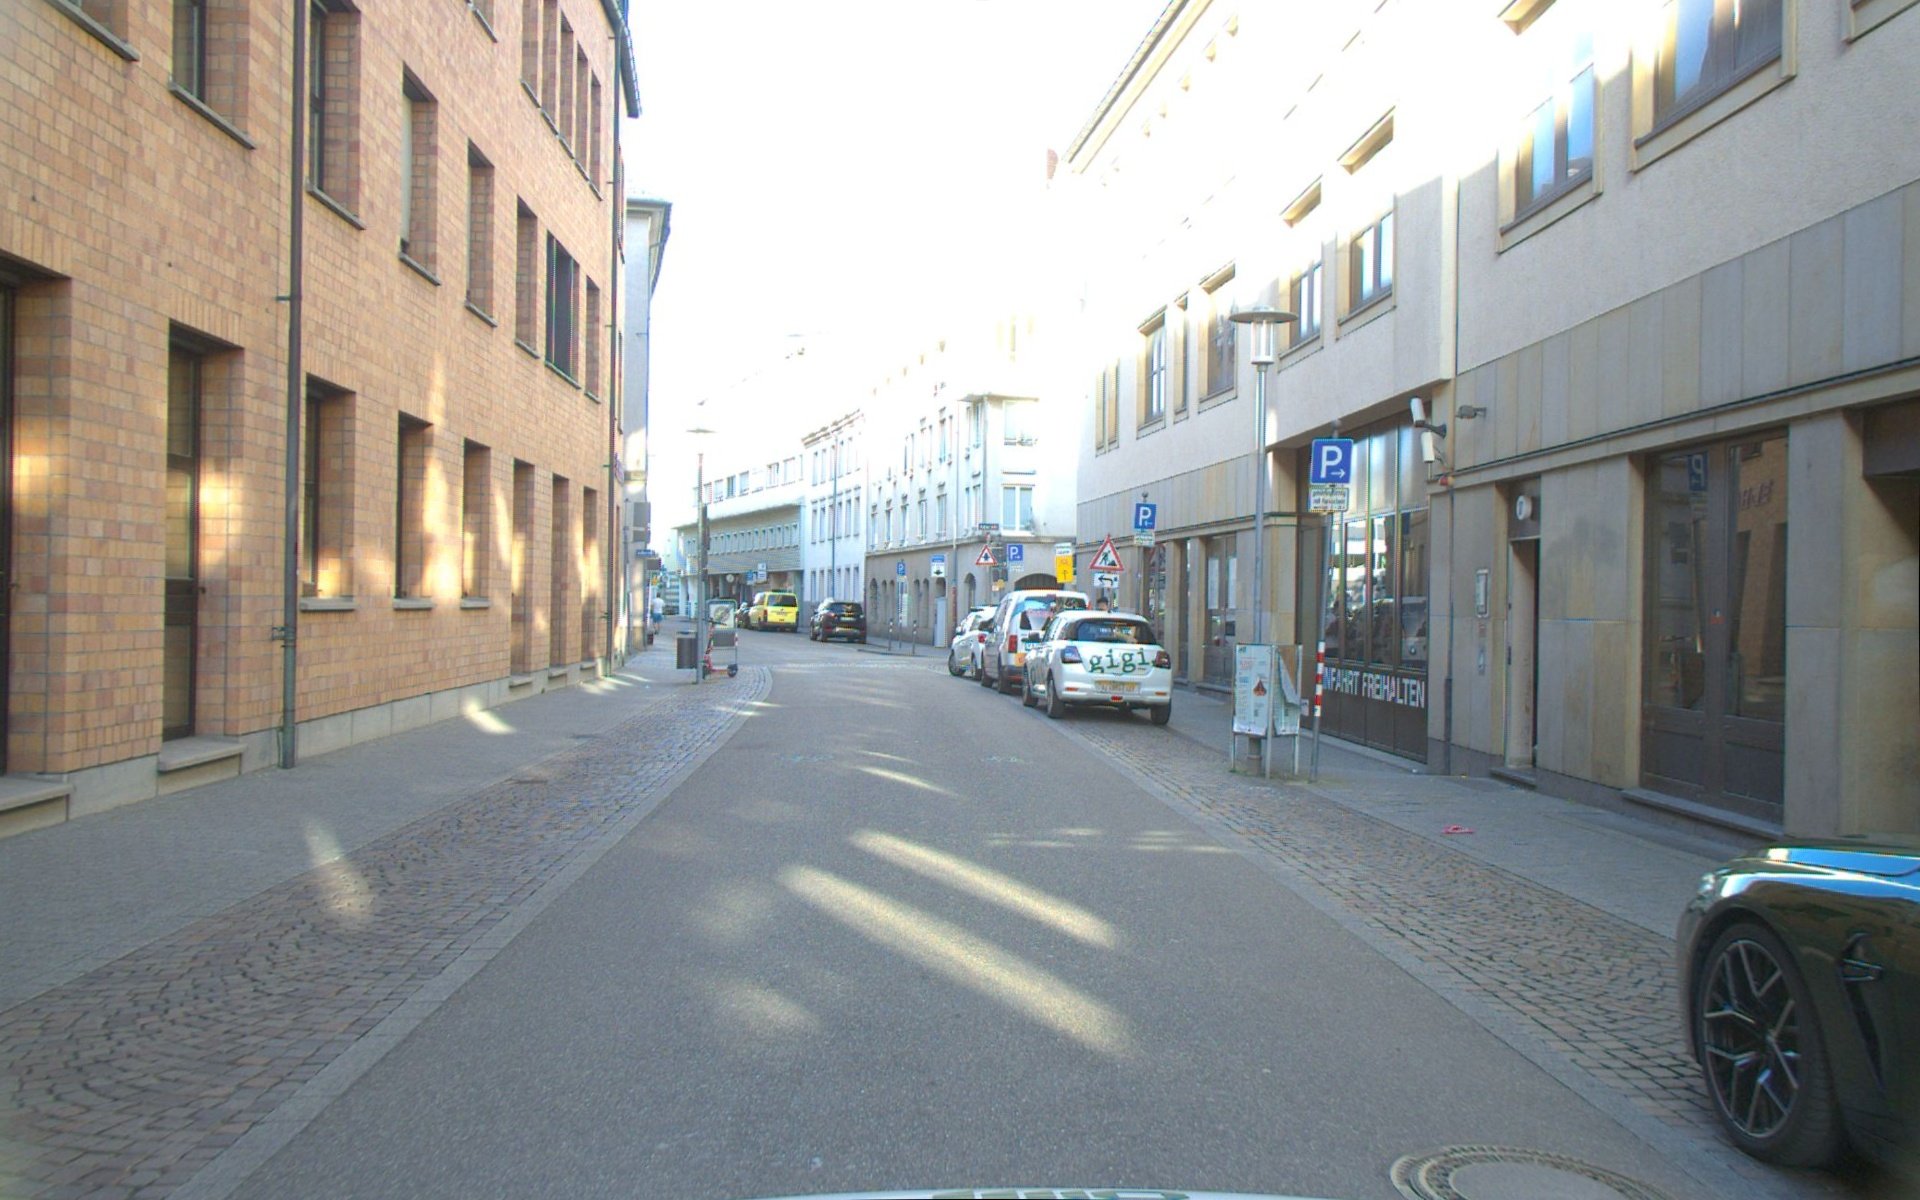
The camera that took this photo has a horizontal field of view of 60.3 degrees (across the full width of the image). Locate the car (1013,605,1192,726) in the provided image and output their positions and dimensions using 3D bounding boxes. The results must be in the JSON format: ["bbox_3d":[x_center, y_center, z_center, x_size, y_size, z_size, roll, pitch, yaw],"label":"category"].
[{"bbox_3d":[1.988,0.888,24.326,1.805,1.504,4.162,3,0,-6],"label":"car"}]

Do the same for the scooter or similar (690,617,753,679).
[{"bbox_3d":[-4.925,0.971,34.216,0.683,1.239,1.357,0,0,22],"label":"scooter or similar"}]

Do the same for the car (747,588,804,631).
[{"bbox_3d":[-9.180,0.433,82.060,2.021,2.049,4.154,1,0,-18],"label":"car"}]

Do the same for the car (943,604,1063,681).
[{"bbox_3d":[0.880,0.897,36.518,1.854,1.545,4.053,2,0,-10],"label":"car"}]

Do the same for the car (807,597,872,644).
[{"bbox_3d":[-4.845,0.792,66.058,1.934,1.721,4.087,2,0,-13],"label":"car"}]

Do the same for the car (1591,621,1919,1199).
[{"bbox_3d":[3.249,0.856,3.263,1.856,1.478,5.224,2,0,-1],"label":"car"}]

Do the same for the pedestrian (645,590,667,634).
[{"bbox_3d":[-12.319,0.486,67.112,0.754,1.755,0.683,1,0,-19],"label":"pedestrian"}]

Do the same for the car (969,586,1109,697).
[{"bbox_3d":[1.357,0.711,30.594,1.795,1.822,5.207,2,0,-6],"label":"car"}]

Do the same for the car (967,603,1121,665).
[{"bbox_3d":[2.248,0.908,44.753,3.912,1.589,1.839,0,0,-8],"label":"car"}]

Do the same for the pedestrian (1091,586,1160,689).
[{"bbox_3d":[3.036,0.676,30.387,1.022,1.833,1.197,1,-1,-6],"label":"pedestrian"}]
